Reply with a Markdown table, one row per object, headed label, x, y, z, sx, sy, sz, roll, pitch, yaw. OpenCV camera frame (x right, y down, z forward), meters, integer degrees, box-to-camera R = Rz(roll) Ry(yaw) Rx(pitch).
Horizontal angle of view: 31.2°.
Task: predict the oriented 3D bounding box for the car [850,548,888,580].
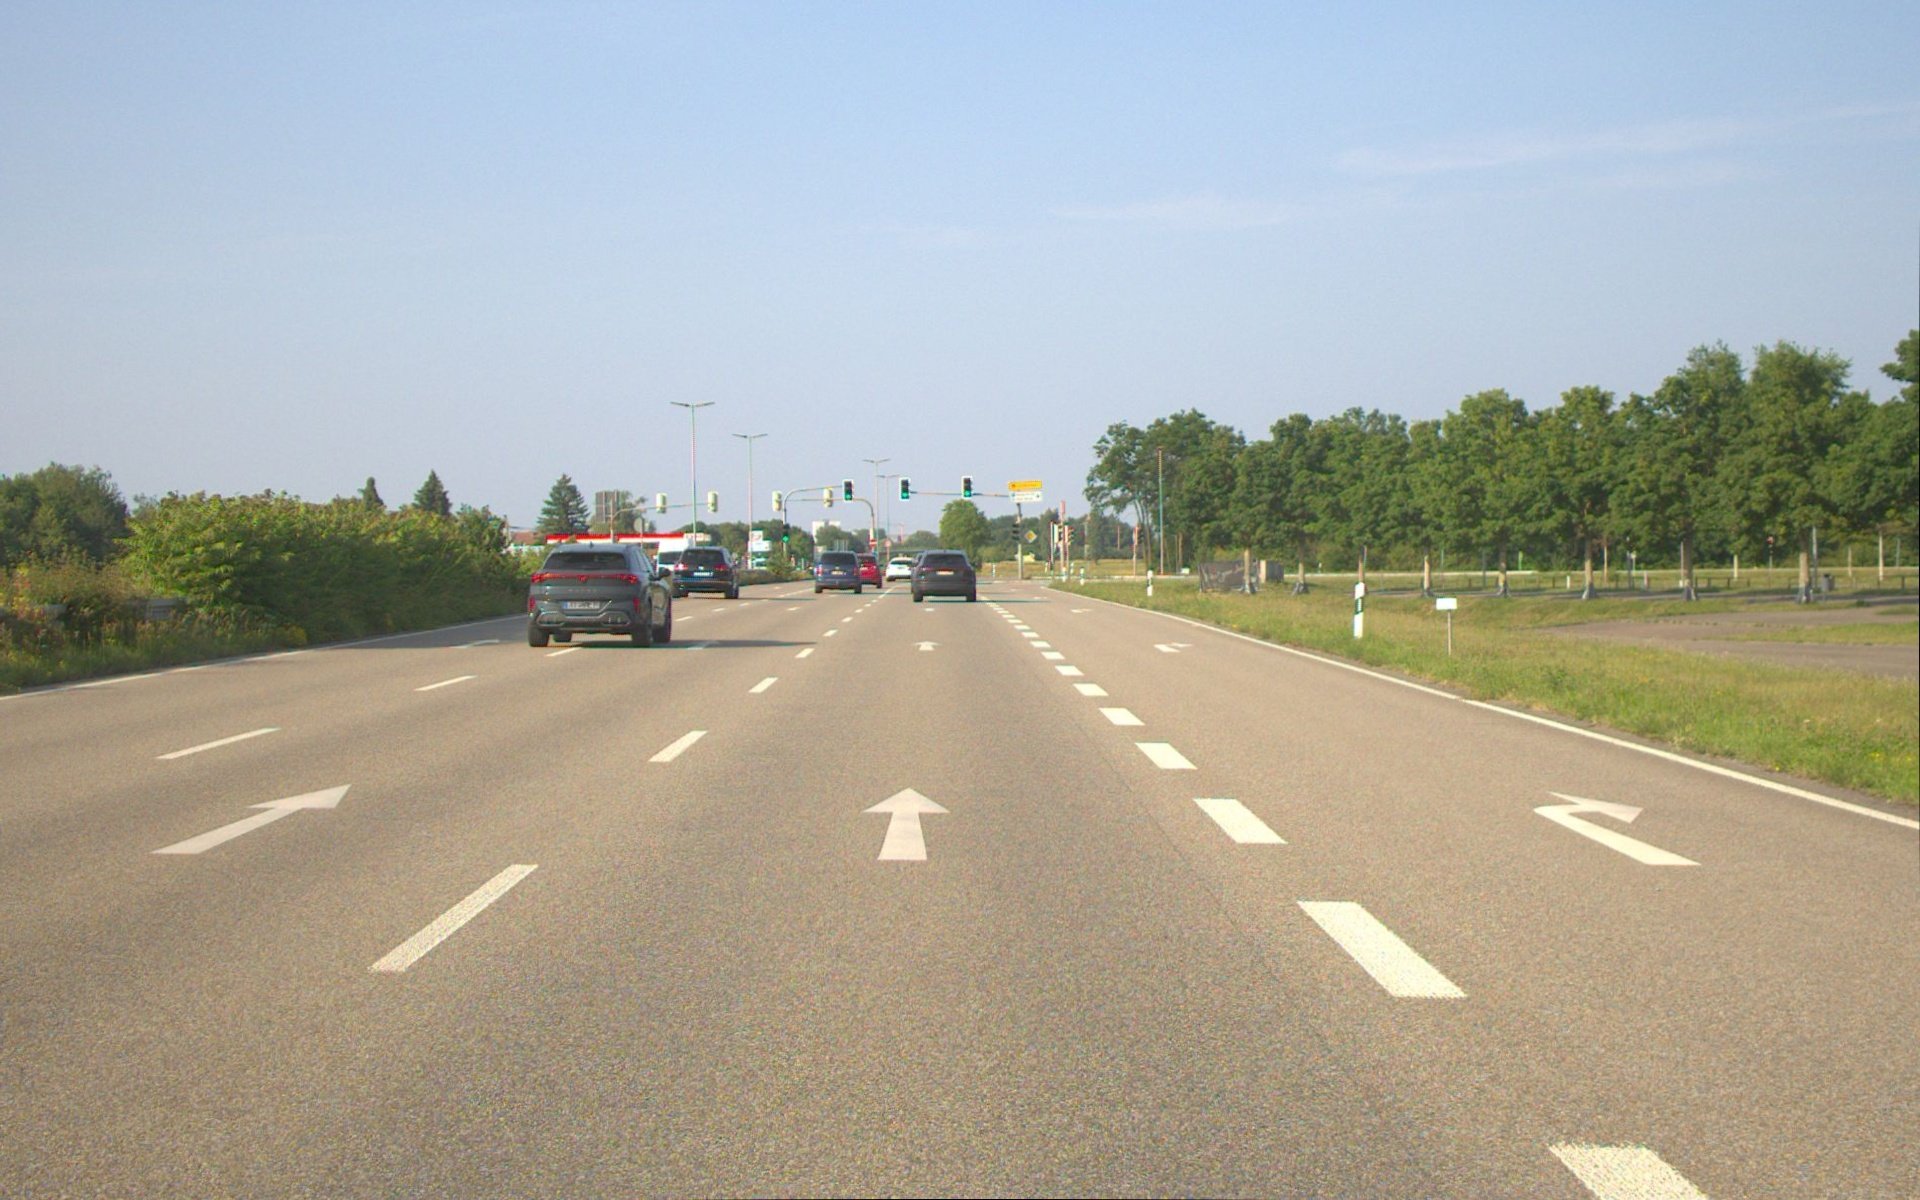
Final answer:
| label | x | y | z | sx | sy | sz | roll | pitch | yaw |
| --- | --- | --- | --- | --- | --- | --- | --- | --- | --- |
| car | -4.263 | -1.707 | 161.821 | 1.647 | 1.458 | 3.981 | 2 | 1 | 0 |

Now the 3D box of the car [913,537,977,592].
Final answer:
| label | x | y | z | sx | sy | sz | roll | pitch | yaw |
| --- | --- | --- | --- | --- | --- | --- | --- | --- | --- |
| car | -0.479 | -1.143 | 107.905 | 1.932 | 1.674 | 4.401 | -1 | 1 | 0 |

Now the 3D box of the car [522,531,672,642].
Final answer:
| label | x | y | z | sx | sy | sz | roll | pitch | yaw |
| --- | --- | --- | --- | --- | --- | --- | --- | --- | --- |
| car | -5.584 | -0.236 | 53.334 | 1.845 | 1.606 | 4.401 | 2 | 1 | 0 |

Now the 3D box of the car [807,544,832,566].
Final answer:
| label | x | y | z | sx | sy | sz | roll | pitch | yaw |
| --- | --- | --- | --- | --- | --- | --- | --- | --- | --- |
| car | -9.951 | -3.209 | 243.908 | 1.600 | 1.527 | 4.000 | 2 | 1 | 0 |

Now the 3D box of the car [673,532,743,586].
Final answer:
| label | x | y | z | sx | sy | sz | roll | pitch | yaw |
| --- | --- | --- | --- | --- | --- | --- | --- | --- | --- |
| car | -8.149 | -1.337 | 111.320 | 1.932 | 1.674 | 4.401 | 2 | 1 | 0 |

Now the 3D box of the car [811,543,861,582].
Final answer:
| label | x | y | z | sx | sy | sz | roll | pitch | yaw |
| --- | --- | --- | --- | --- | --- | --- | --- | --- | --- |
| car | -4.825 | -1.468 | 134.119 | 1.812 | 1.458 | 4.401 | 2 | 1 | 0 |

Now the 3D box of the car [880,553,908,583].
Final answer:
| label | x | y | z | sx | sy | sz | roll | pitch | yaw |
| --- | --- | --- | --- | --- | --- | --- | --- | --- | --- |
| car | -3.926 | -1.915 | 203.906 | 1.645 | 1.722 | 3.401 | 1 | 0 | -1 |
